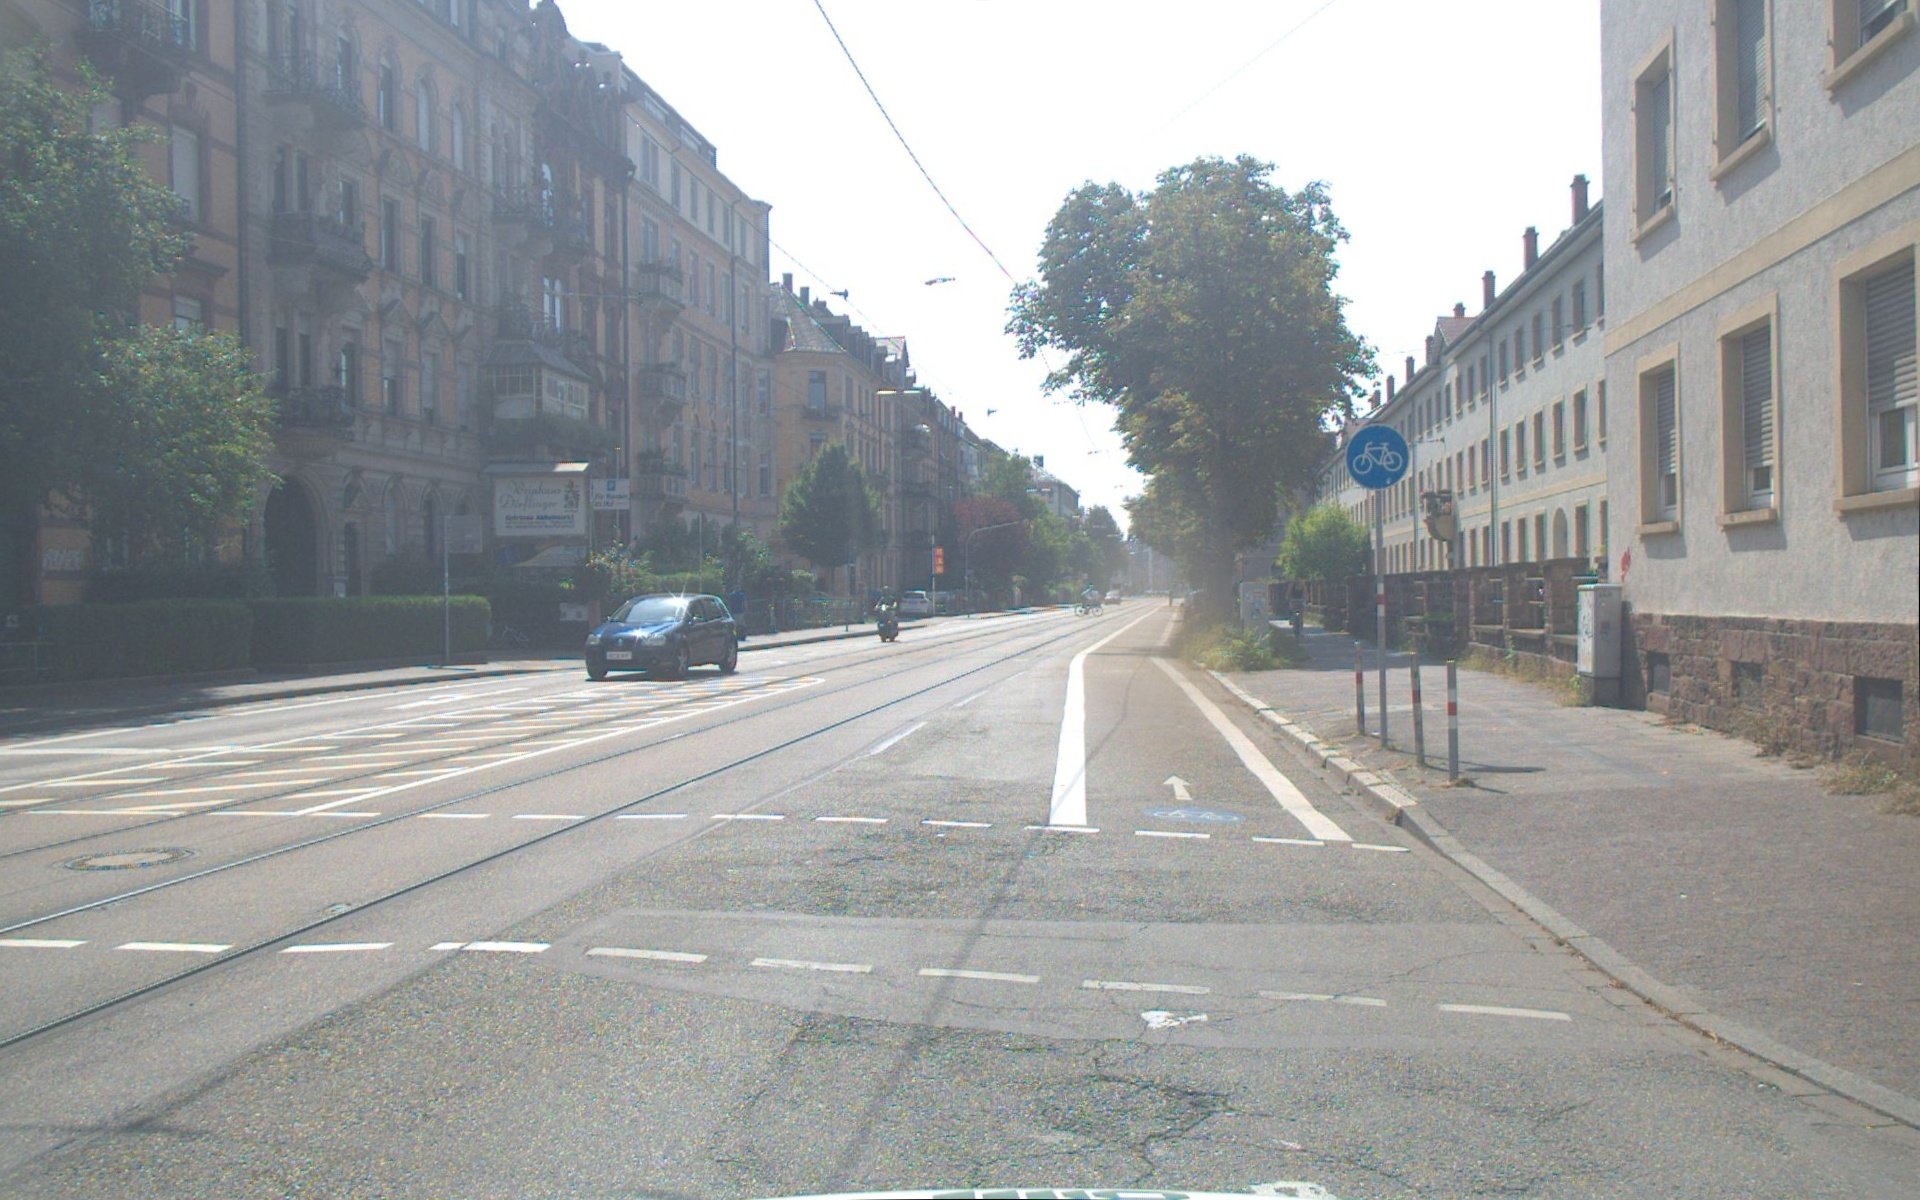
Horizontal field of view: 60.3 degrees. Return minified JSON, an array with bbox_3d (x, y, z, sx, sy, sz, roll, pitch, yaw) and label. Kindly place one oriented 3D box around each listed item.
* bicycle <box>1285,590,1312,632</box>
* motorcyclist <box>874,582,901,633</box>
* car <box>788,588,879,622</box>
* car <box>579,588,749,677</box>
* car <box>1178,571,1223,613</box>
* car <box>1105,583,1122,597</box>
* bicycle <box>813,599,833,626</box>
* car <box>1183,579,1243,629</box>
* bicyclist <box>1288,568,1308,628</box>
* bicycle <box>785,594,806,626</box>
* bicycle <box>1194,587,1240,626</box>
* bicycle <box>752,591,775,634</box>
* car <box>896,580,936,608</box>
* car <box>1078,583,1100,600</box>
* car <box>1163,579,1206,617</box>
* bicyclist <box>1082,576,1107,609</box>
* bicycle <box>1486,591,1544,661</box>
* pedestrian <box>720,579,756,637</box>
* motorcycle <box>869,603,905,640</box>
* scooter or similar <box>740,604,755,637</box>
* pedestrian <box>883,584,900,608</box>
[{"bbox_3d":[8.778,0.276,42.906,0.431,1.065,1.830,-1,0,5],"label":"bicycle"},{"bbox_3d":[-2.220,0.214,50.741,0.674,1.538,0.773,-1,0,9],"label":"motorcyclist"},{"bbox_3d":[-6.072,0.224,79.699,4.014,1.622,1.880,0,0,9],"label":"car"},{"bbox_3d":[-5.349,0.538,30.469,1.690,1.458,4.181,1,1,11],"label":"car"},{"bbox_3d":[9.121,-0.314,62.796,1.582,1.503,4.042,-3,0,8],"label":"car"},{"bbox_3d":[17.490,-1.110,188.291,1.695,1.516,4.003,-2,0,7],"label":"car"},{"bbox_3d":[-5.634,0.516,67.907,0.382,1.056,1.835,-1,1,9],"label":"bicycle"},{"bbox_3d":[8.410,0.107,54.878,1.582,1.557,3.502,-2,0,14],"label":"car"},{"bbox_3d":[8.778,-0.043,42.986,0.428,1.538,0.472,-1,0,4],"label":"bicyclist"},{"bbox_3d":[-6.190,0.352,62.275,0.382,1.168,1.583,-1,1,9],"label":"bicycle"},{"bbox_3d":[7.599,0.196,48.885,1.372,1.128,0.386,-1,0,-28],"label":"bicycle"},{"bbox_3d":[-6.840,0.428,57.617,0.382,1.430,1.583,-1,0,9],"label":"bicycle"},{"bbox_3d":[-2.648,-0.383,100.969,1.951,1.622,4.362,-1,0,4],"label":"car"},{"bbox_3d":[12.087,-0.790,154.409,1.788,1.567,4.003,-2,0,7],"label":"car"},{"bbox_3d":[9.955,-0.099,73.140,1.718,1.503,4.461,-5,-1,8],"label":"car"},{"bbox_3d":[7.869,-0.439,96.869,1.107,1.869,0.951,-1,-1,39],"label":"bicyclist"},{"bbox_3d":[8.840,0.391,26.391,0.431,1.065,1.830,-1,0,5],"label":"bicycle"},{"bbox_3d":[-6.907,0.246,51.505,0.864,1.786,0.871,-1,0,8],"label":"pedestrian"},{"bbox_3d":[-2.222,0.645,50.681,0.676,1.049,2.159,-1,0,9],"label":"motorcycle"},{"bbox_3d":[-6.543,0.629,50.927,0.392,0.999,0.584,0,0,0],"label":"scooter or similar"},{"bbox_3d":[-4.485,-0.285,107.890,0.871,1.537,0.864,-1,0,-23],"label":"pedestrian"}]
